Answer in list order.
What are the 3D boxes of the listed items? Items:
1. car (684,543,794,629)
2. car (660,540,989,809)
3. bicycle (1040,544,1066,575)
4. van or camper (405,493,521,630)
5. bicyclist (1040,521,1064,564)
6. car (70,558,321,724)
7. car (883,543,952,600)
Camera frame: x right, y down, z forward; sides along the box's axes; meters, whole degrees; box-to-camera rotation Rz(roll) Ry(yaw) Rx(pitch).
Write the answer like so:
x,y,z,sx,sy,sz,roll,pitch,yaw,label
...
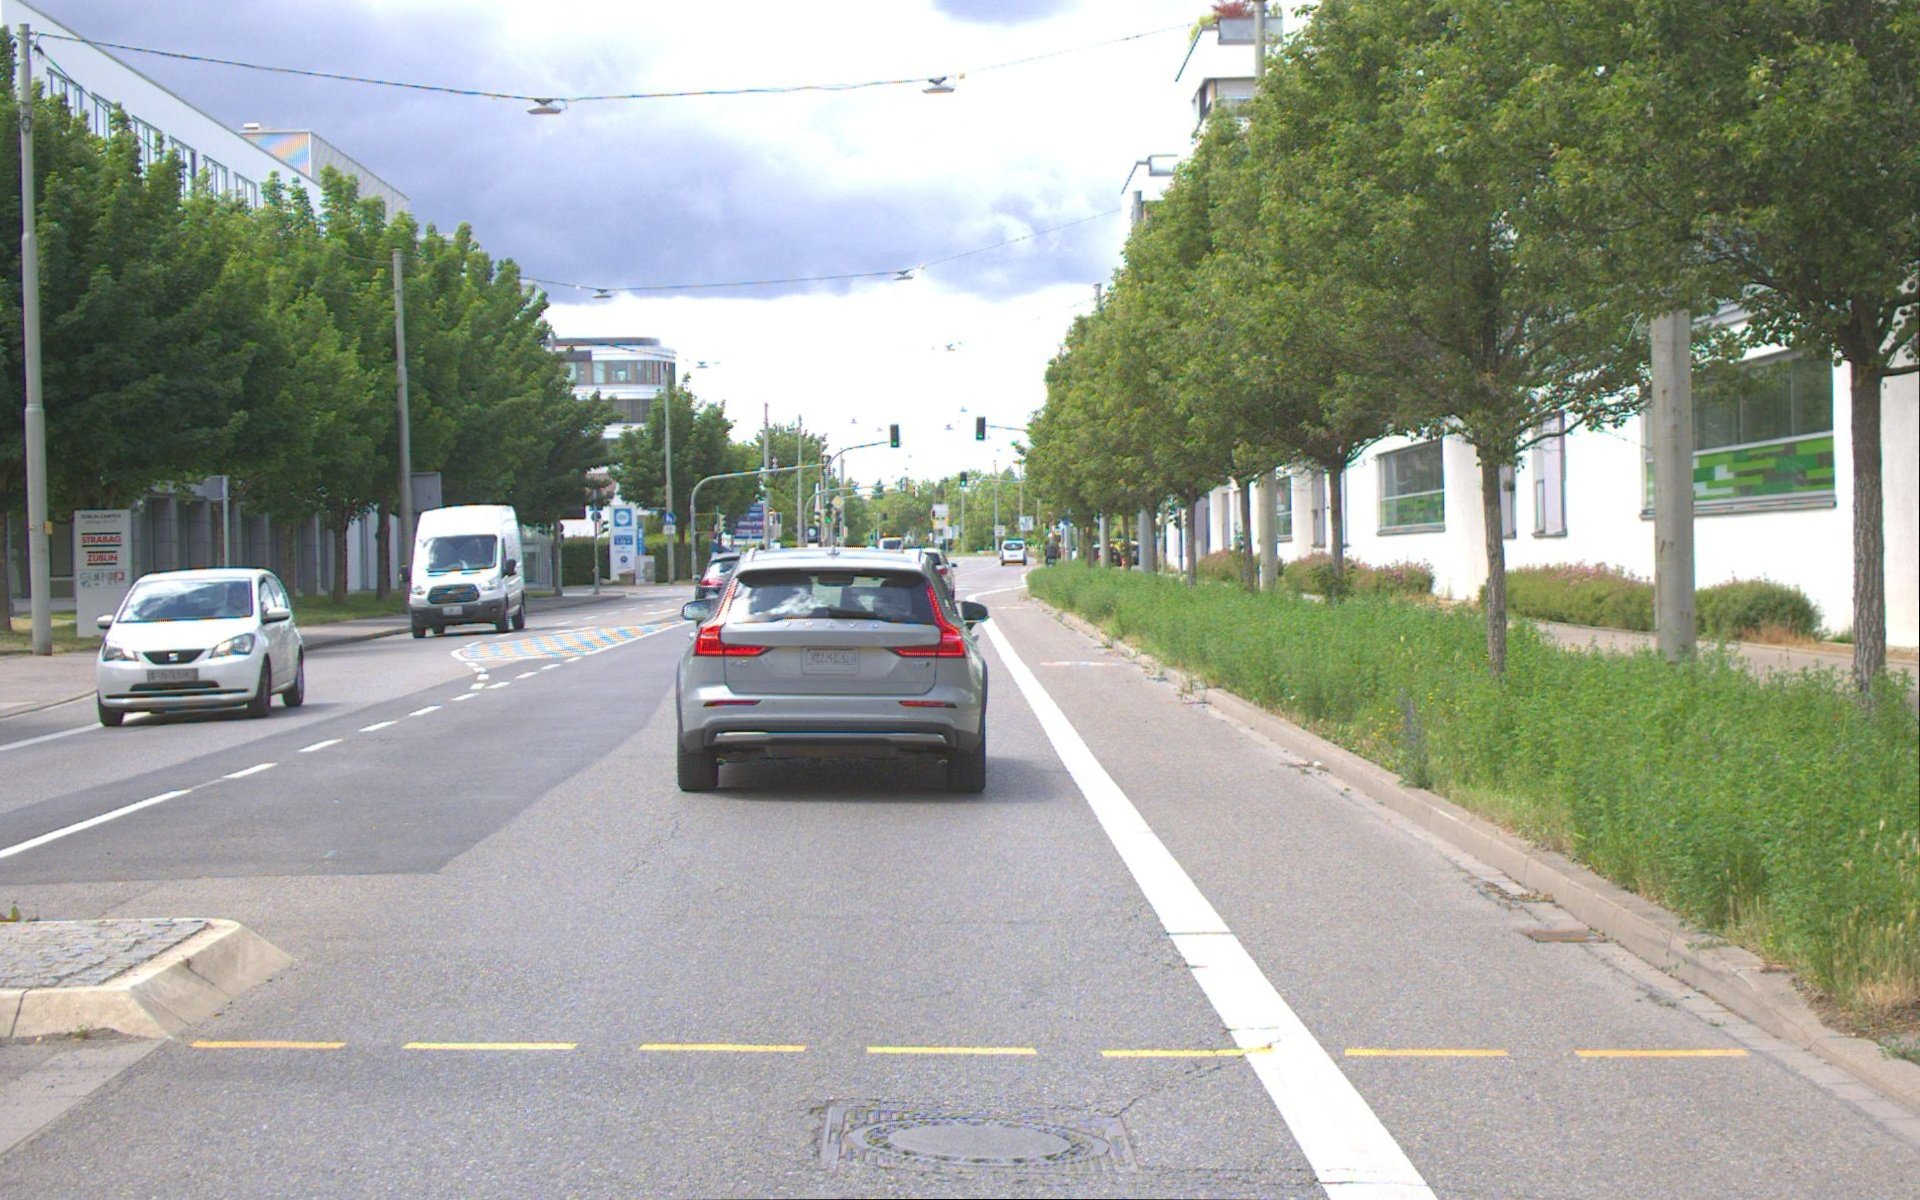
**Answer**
x,y,z,sx,sy,sz,roll,pitch,yaw,label
-4.078,-0.285,63.831,1.854,1.508,4.000,0,1,-1,car
-0.842,0.395,21.671,1.854,1.508,4.000,1,1,-2,car
4.456,-1.940,164.951,1.067,1.448,2.978,-2,1,-1,bicycle
-10.584,-0.836,73.633,1.993,2.724,6.054,-2,1,-5,van or camper
4.406,-2.745,165.030,1.014,2.007,1.131,-2,1,-1,bicyclist
-7.637,0.366,34.673,1.661,1.510,4.000,-1,1,-1,car
-1.192,-0.807,94.639,1.845,1.508,4.000,0,1,-1,car
